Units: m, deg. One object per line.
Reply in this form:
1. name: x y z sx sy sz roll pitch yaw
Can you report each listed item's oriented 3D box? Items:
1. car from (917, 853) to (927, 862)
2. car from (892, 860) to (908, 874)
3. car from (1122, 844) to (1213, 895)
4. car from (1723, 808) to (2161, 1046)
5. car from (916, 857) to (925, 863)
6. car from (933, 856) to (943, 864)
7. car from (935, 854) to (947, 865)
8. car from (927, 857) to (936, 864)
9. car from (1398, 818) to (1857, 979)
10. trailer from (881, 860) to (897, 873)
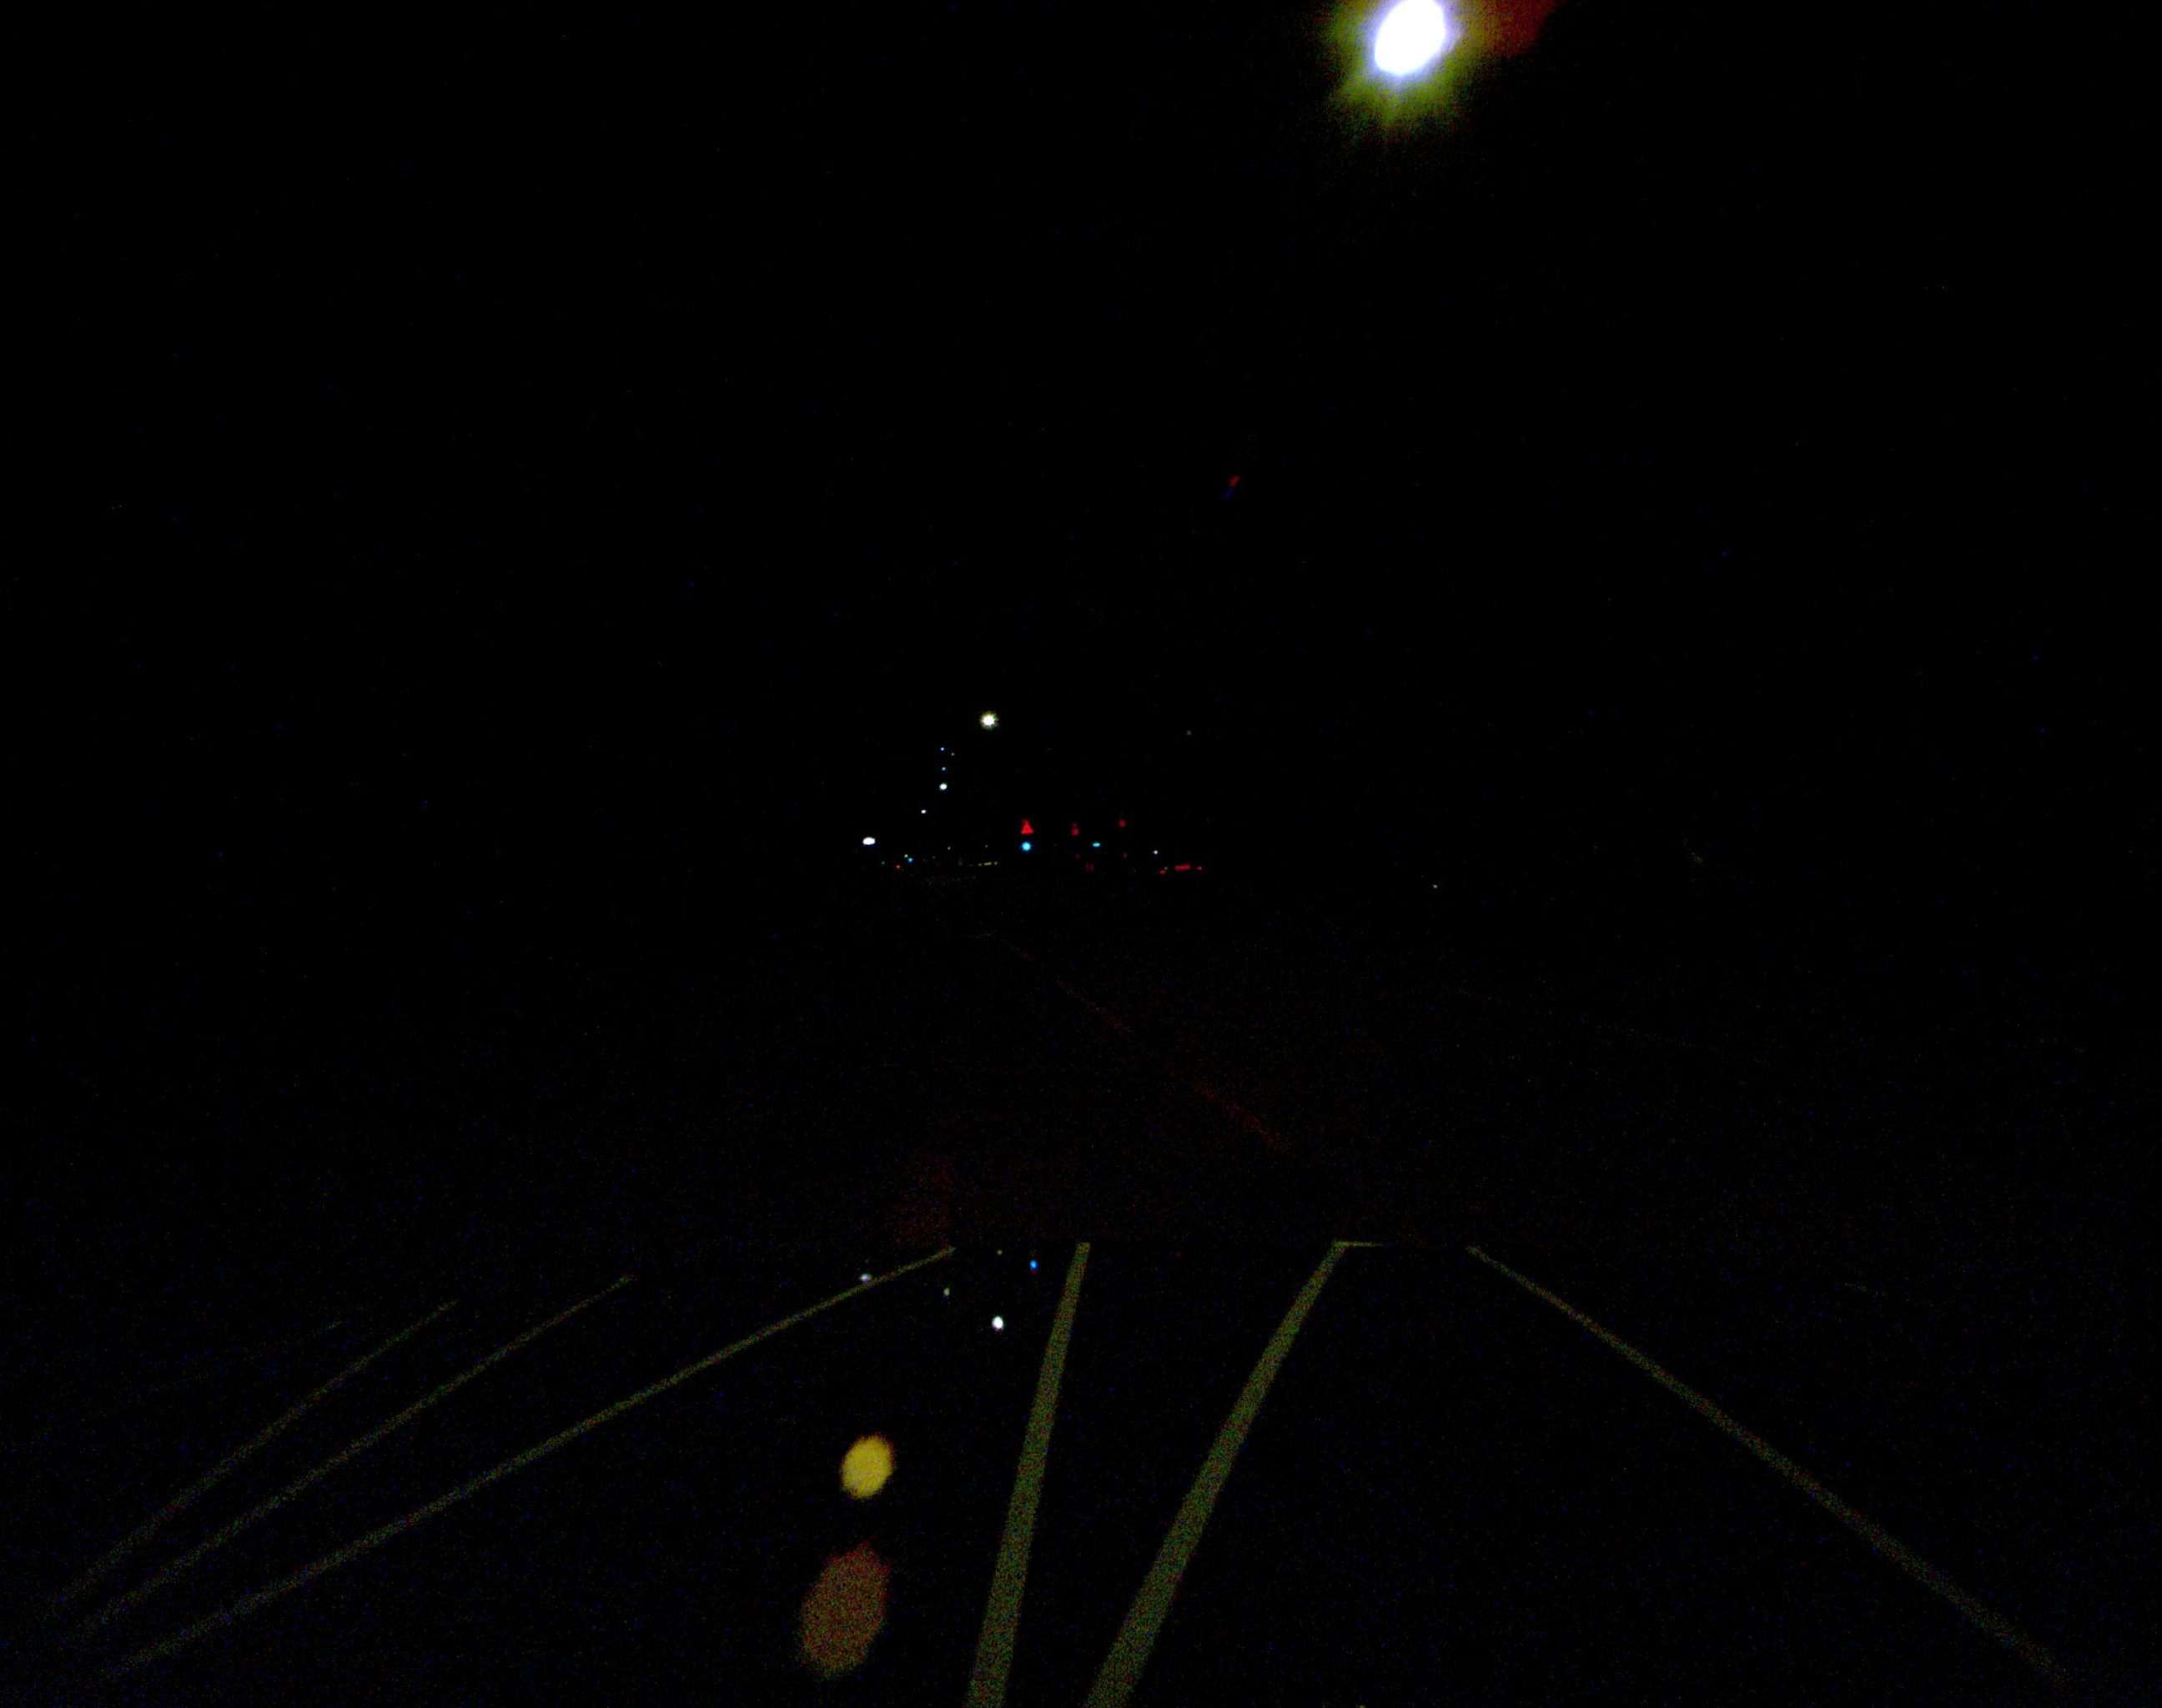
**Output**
1. car: -44.949 1.021 214.895 2.007 2.493 4.947 -7 1 -16
2. car: -20.398 1.450 85.704 1.592 1.453 3.793 -5 1 -11
3. car: 2.833 0.496 25.869 1.720 1.485 3.985 -5 1 -14
4. car: 7.619 0.428 5.141 1.774 1.477 4.857 -3 1 -14
5. car: -43.009 1.663 203.478 1.828 1.424 3.726 -6 1 -16
6. car: -28.284 1.165 150.203 1.828 1.424 3.727 -6 1 -13
7. car: -26.642 1.051 144.312 1.884 1.799 3.727 -6 1 -13
8. car: -33.728 1.463 171.550 1.828 1.637 3.727 -3 0 -13
9. car: 6.484 0.429 9.874 1.774 1.477 4.761 -3 1 -15
10. trailer: -23.814 1.516 94.257 1.606 1.486 3.730 -5 1 -10
